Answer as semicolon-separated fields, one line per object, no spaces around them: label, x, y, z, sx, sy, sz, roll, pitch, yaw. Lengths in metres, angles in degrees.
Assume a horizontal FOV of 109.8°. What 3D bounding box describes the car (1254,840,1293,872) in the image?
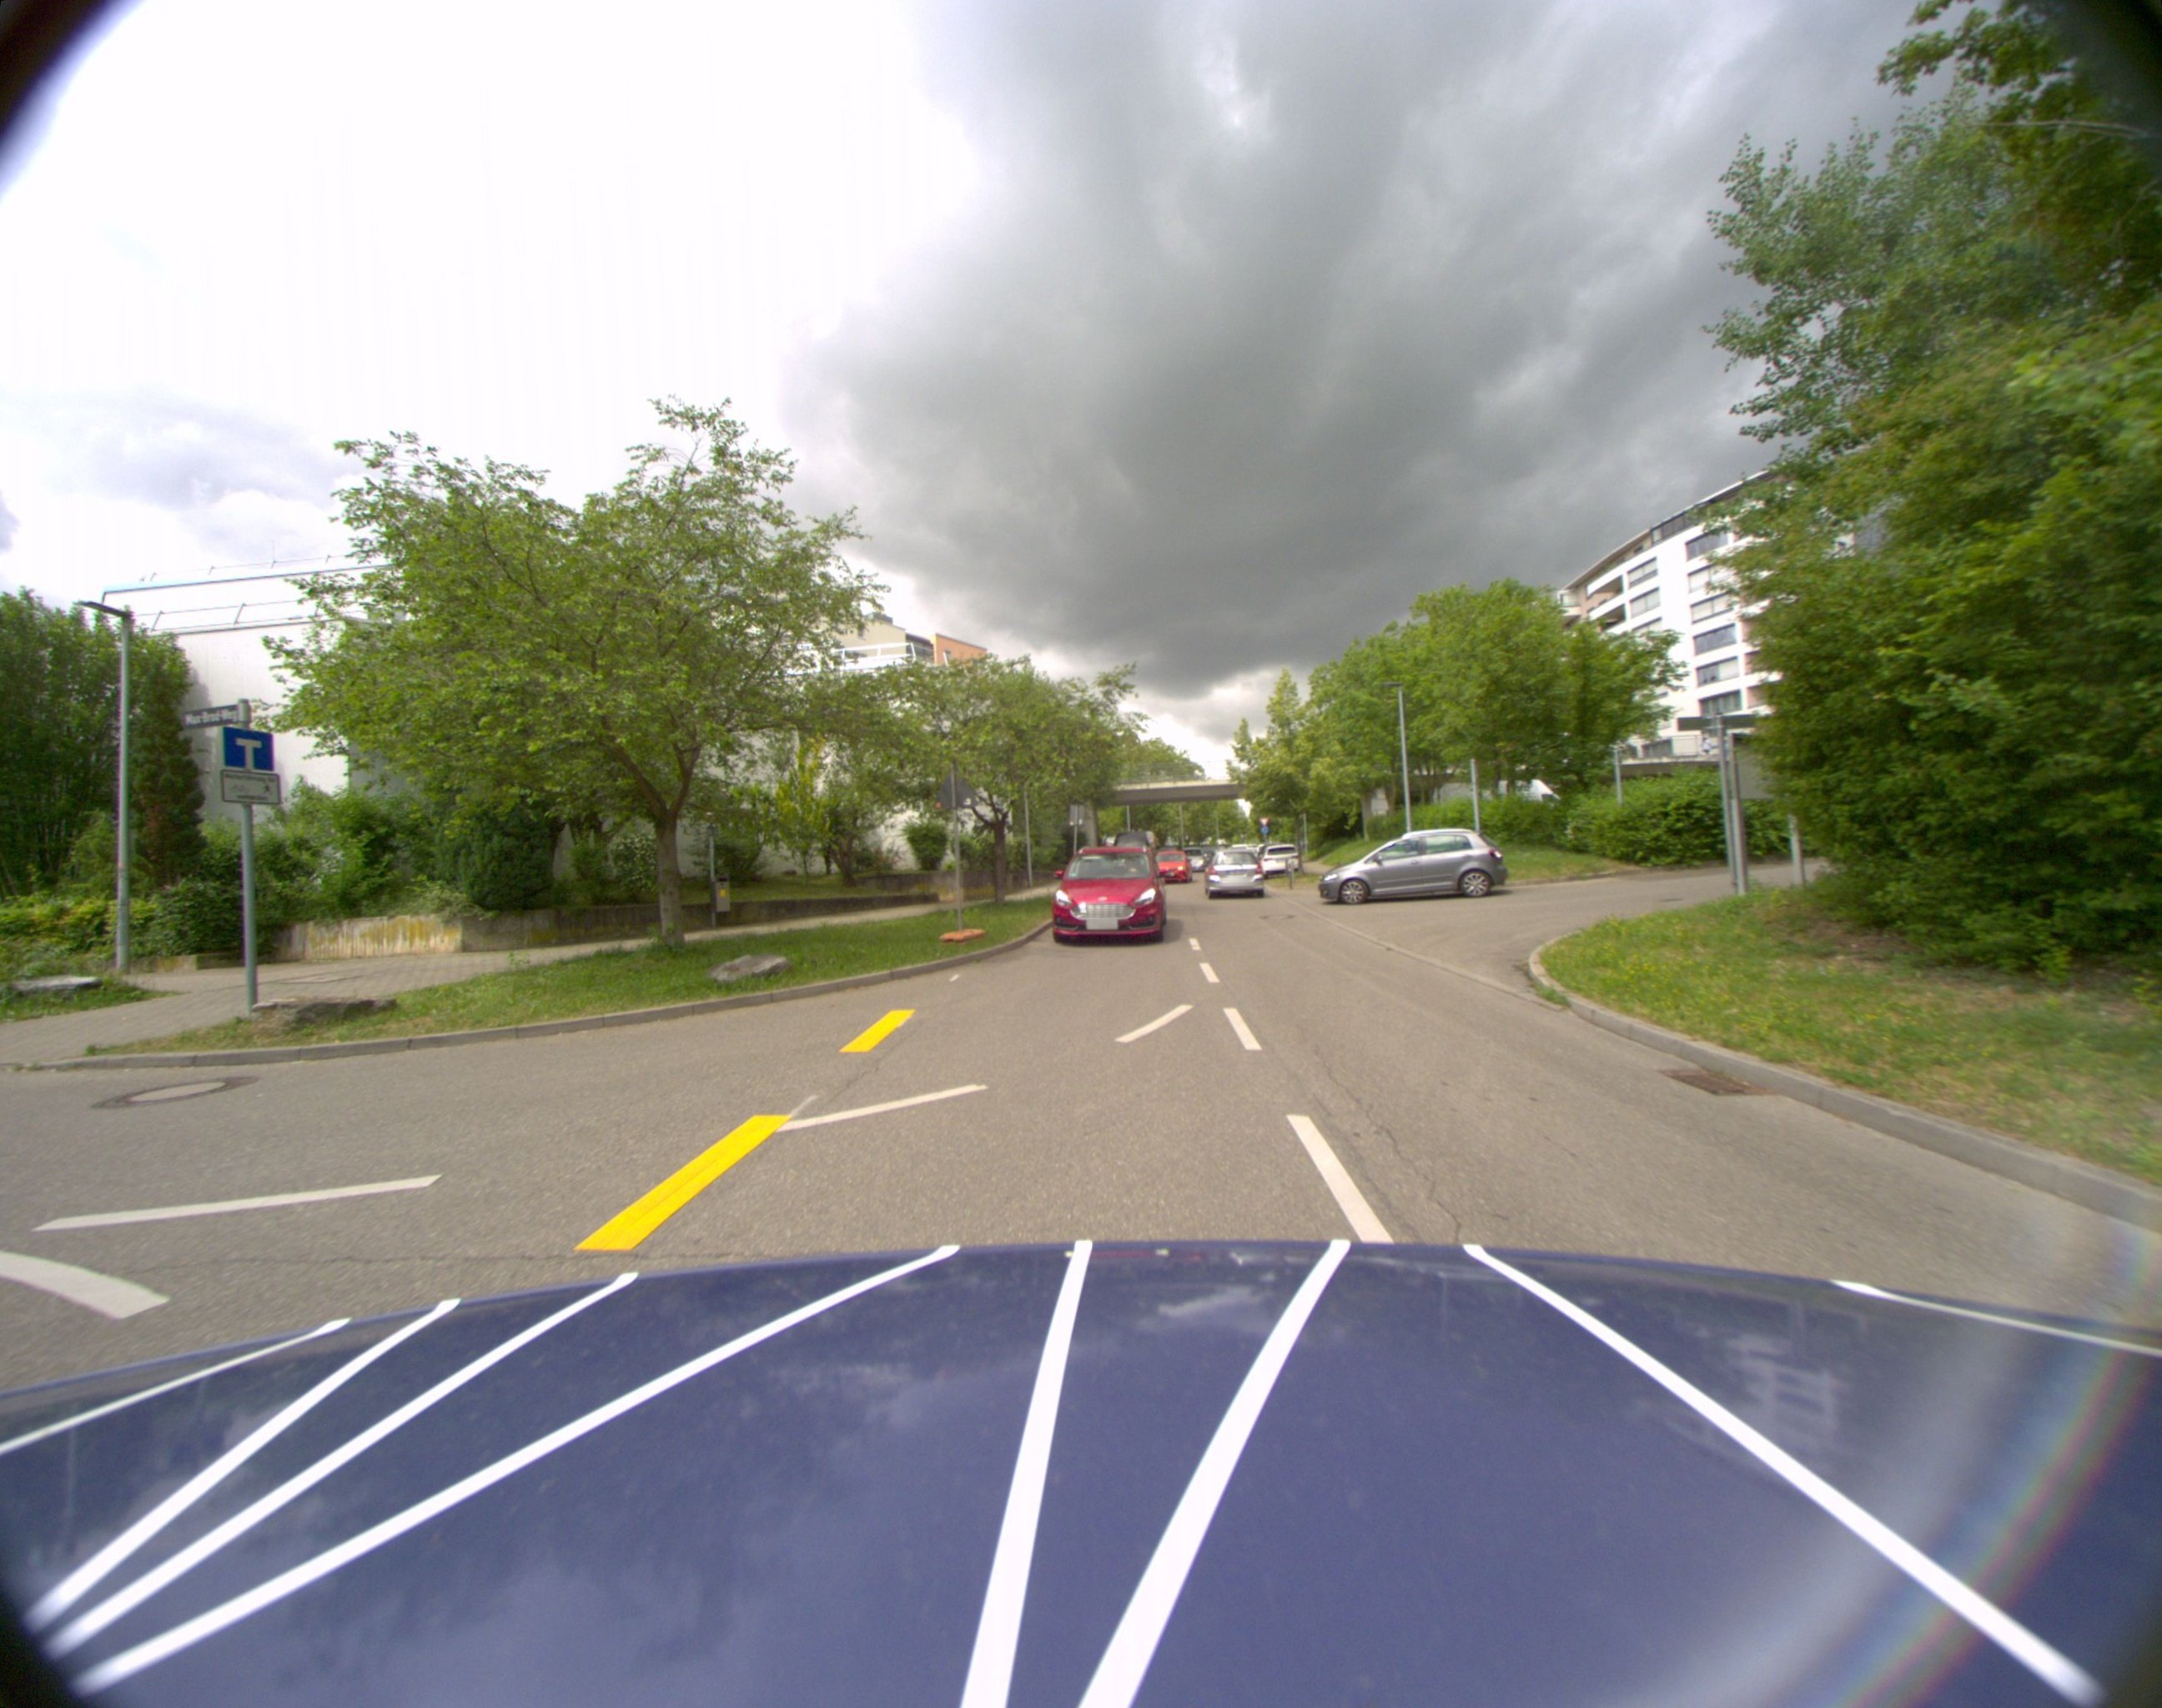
car;10.867;0.083;43.083;1.811;1.575;3.988;-5;0;11

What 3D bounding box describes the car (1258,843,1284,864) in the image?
car;15.364;-0.076;61.236;1.810;1.561;3.726;-2;1;17

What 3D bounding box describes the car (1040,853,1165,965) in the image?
car;0.518;0.822;13.267;1.812;1.600;3.723;0;1;7

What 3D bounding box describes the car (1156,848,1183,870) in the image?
car;6.836;0.333;58.430;1.603;1.534;3.725;-2;1;13

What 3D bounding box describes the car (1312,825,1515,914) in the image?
car;7.785;0.361;18.118;4.112;1.652;1.760;-6;1;20

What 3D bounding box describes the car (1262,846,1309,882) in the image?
car;9.118;0.413;34.120;1.811;1.397;4.051;-2;1;12

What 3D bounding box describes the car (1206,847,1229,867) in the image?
car;12.036;0.243;67.243;1.779;1.412;4.002;-5;1;9

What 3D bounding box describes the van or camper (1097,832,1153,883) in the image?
van or camper;2.498;0.120;41.220;1.997;2.481;5.762;-2;1;13

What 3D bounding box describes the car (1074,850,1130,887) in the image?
car;0.933;0.561;31.937;1.694;1.412;4.003;-2;0;11

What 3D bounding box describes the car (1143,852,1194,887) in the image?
car;4.057;0.667;34.533;1.860;1.434;4.004;-3;0;12

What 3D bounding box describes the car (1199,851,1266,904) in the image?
car;4.726;0.682;23.936;1.844;1.447;3.654;-2;1;10

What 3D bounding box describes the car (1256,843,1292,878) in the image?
car;9.877;0.308;38.933;1.596;1.575;2.687;-6;0;14

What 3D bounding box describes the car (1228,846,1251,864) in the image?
car;13.150;0.058;62.845;1.754;1.411;4.371;-2;0;12

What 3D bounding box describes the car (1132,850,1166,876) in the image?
car;4.249;0.540;47.103;1.585;1.441;3.725;-2;1;13

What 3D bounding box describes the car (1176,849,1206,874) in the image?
car;7.160;0.432;49.243;1.779;1.443;4.002;-2;1;9

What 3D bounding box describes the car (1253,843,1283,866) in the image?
car;13.767;0.037;55.839;1.811;1.447;3.864;-5;0;17
